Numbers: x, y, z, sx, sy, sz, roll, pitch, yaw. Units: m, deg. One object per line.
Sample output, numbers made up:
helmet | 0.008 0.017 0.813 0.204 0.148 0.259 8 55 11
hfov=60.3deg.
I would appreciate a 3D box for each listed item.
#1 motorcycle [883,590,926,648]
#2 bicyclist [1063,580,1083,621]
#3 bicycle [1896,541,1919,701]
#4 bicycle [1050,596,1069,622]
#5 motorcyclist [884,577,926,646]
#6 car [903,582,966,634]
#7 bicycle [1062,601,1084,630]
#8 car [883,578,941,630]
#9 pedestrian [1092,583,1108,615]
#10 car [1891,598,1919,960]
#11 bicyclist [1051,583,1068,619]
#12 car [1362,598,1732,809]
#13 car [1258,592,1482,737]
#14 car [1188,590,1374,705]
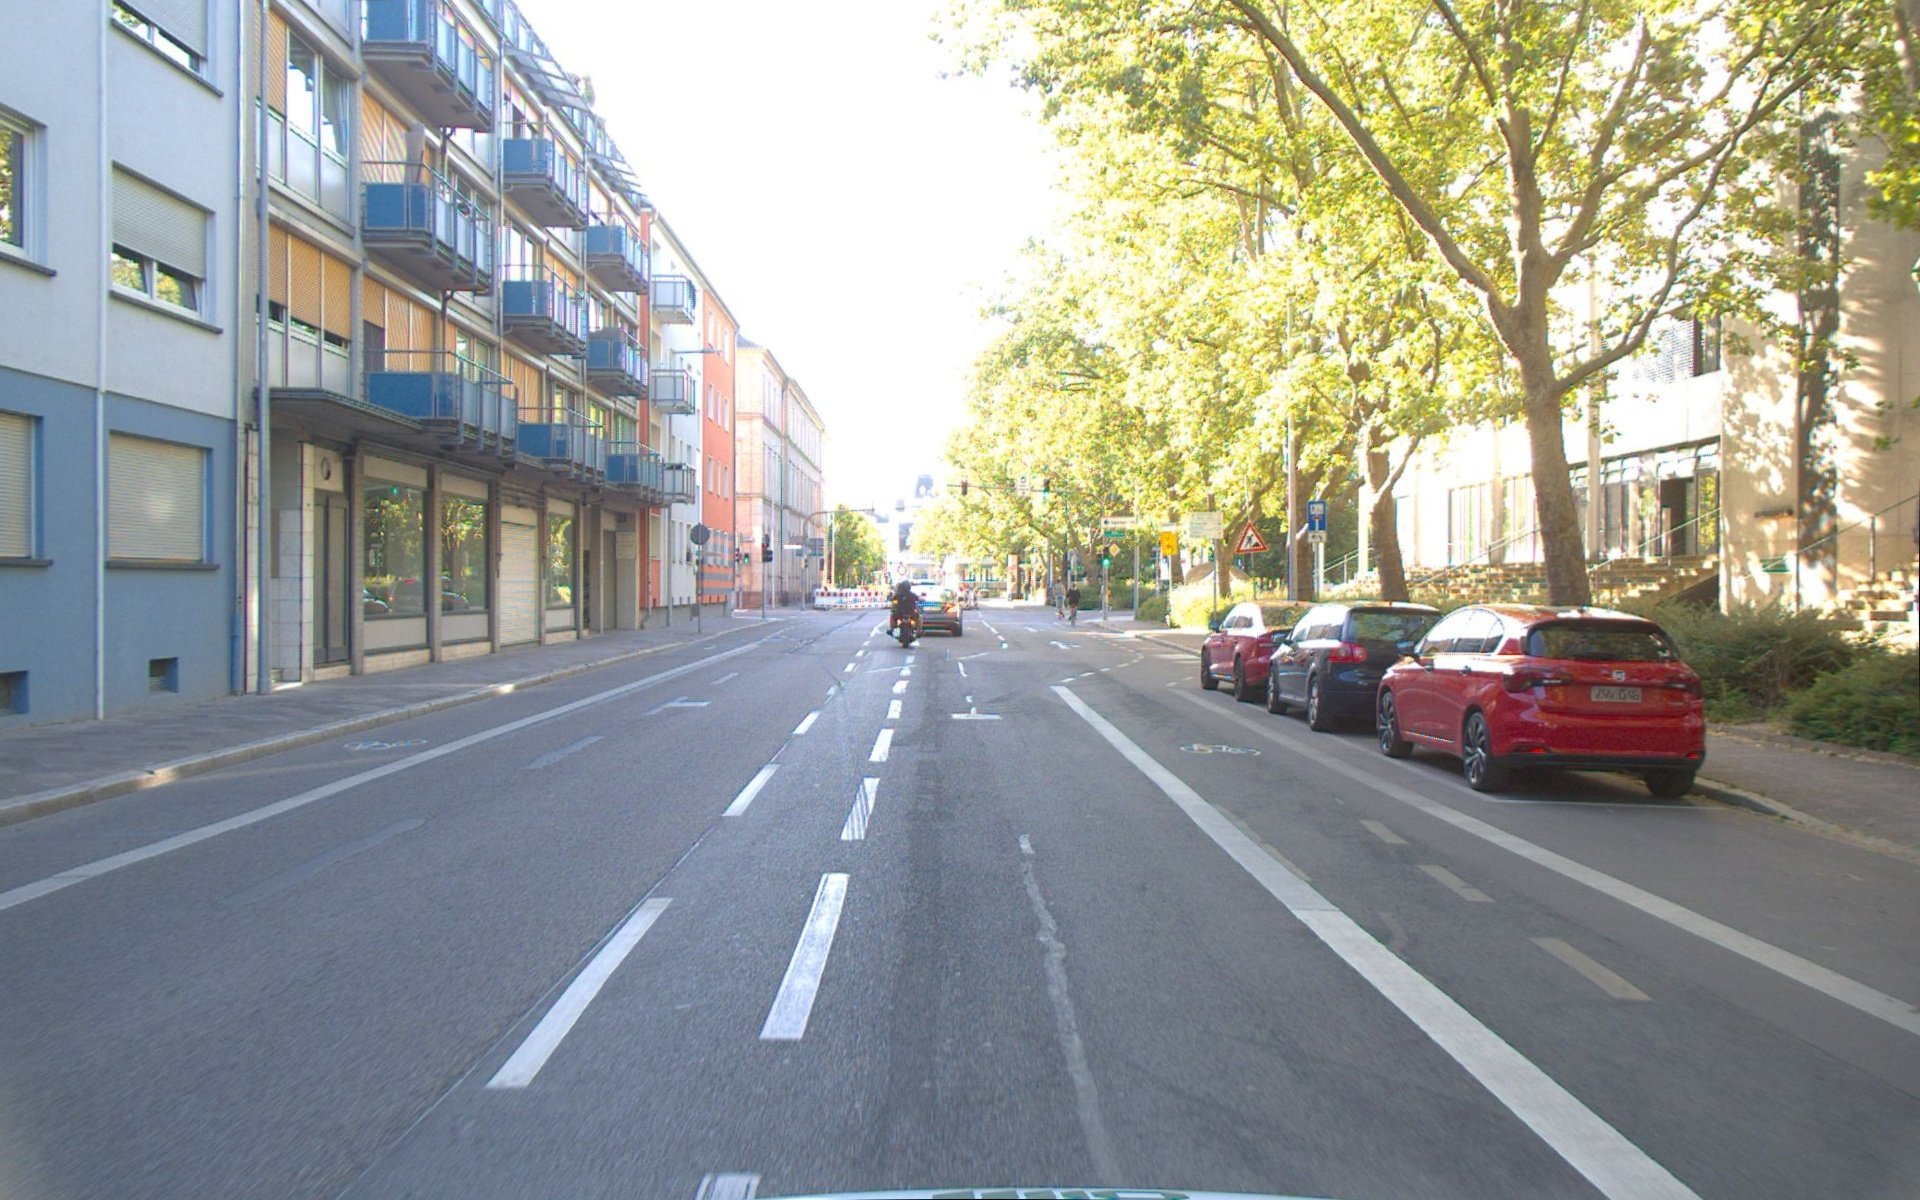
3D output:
motorcycle | -1.315 0.422 39.539 0.992 1.329 2.672 0 0 -2
bicyclist | 4.410 0.024 64.456 0.643 1.557 0.852 2 0 -2
bicycle | 13.560 0.276 21.350 2.545 2.049 0.742 0 0 -1
bicycle | 4.394 0.391 73.191 0.643 1.131 2.185 2 0 -2
motorcyclist | -1.315 0.259 39.682 0.992 1.630 1.405 0 0 -2
car | -0.775 0.218 48.820 1.791 1.445 3.814 1 0 -2
bicycle | 4.391 0.586 64.426 0.643 1.089 1.926 2 0 -2
car | -1.687 0.132 57.079 1.599 1.679 3.845 2 0 -7
pedestrian | 7.834 -0.048 92.653 0.613 1.805 0.570 2 0 35
car | 5.012 0.814 5.236 1.659 1.529 4.018 2 0 -3
bicyclist | 4.402 0.036 73.238 0.643 1.557 0.906 2 0 -2
car | 4.997 0.787 14.756 1.658 1.505 4.318 2 0 -1
car | 4.838 0.693 20.060 1.658 1.492 4.065 2 0 0
car | 4.686 0.636 24.778 1.659 1.474 4.433 2 0 -3
